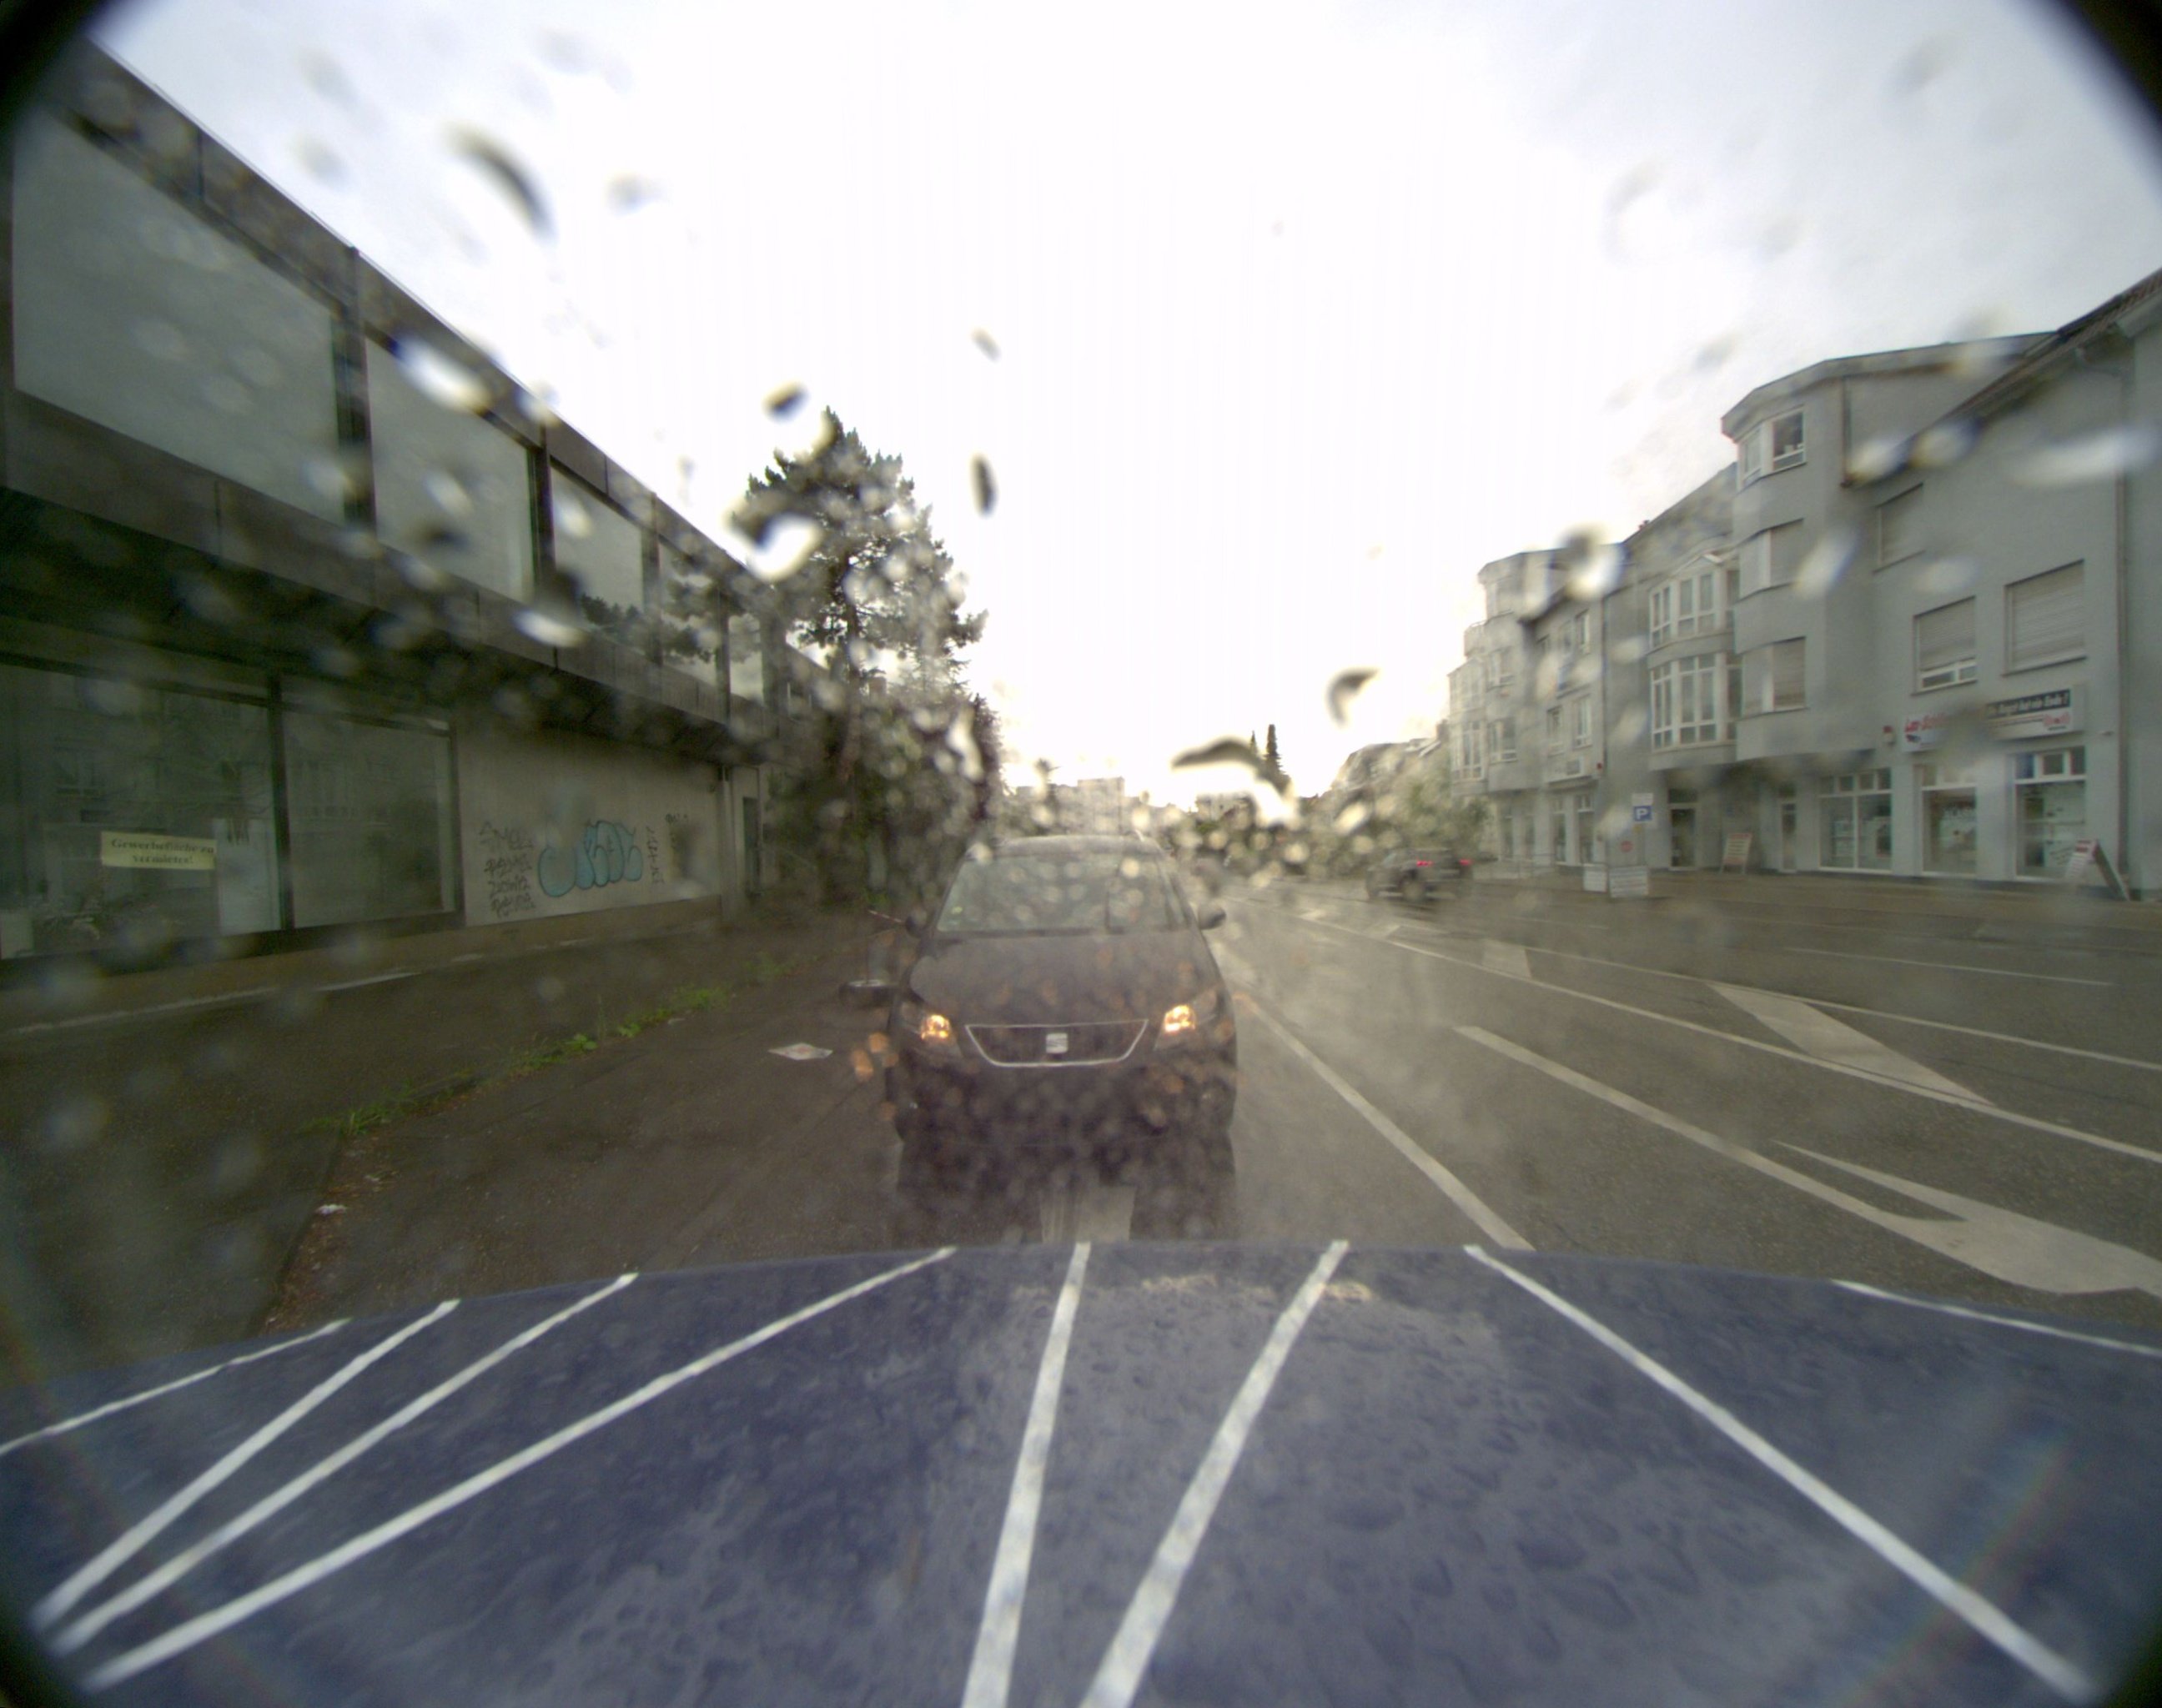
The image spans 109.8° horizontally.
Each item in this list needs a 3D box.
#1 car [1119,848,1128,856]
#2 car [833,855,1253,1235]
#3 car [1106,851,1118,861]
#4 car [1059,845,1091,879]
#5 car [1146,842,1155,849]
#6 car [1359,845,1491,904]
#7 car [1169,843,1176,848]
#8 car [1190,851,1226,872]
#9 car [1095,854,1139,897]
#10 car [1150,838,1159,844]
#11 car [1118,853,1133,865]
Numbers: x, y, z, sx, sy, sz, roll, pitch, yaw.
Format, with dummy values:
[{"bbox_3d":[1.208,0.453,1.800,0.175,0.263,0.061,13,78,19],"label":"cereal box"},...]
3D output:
[{"bbox_3d":[9.857,-0.473,176.181,1.998,1.808,3.999,-2,1,1],"label":"car"},{"bbox_3d":[-0.128,0.824,5.574,1.754,1.534,4.676,-1,1,1],"label":"car"},{"bbox_3d":[5.676,0.356,139.788,1.998,1.774,3.999,-2,1,1],"label":"car"},{"bbox_3d":[-0.350,0.472,50.411,1.998,2.072,3.999,-2,1,1],"label":"car"},{"bbox_3d":[19.870,-2.355,216.730,1.996,1.808,4.003,-2,1,14],"label":"car"},{"bbox_3d":[10.062,0.536,22.605,1.972,1.503,3.999,-2,1,-2],"label":"car"},{"bbox_3d":[29.657,-2.837,246.682,1.747,1.664,3.594,-2,1,11],"label":"car"},{"bbox_3d":[10.451,0.591,62.946,1.999,1.615,4.538,-3,0,-2],"label":"car"},{"bbox_3d":[1.552,0.911,34.186,1.803,1.675,3.999,-2,1,1],"label":"car"},{"bbox_3d":[23.432,-4.015,242.153,1.996,1.808,4.003,-2,1,14],"label":"car"},{"bbox_3d":[6.529,0.713,111.690,1.998,1.723,3.999,-2,1,1],"label":"car"}]
